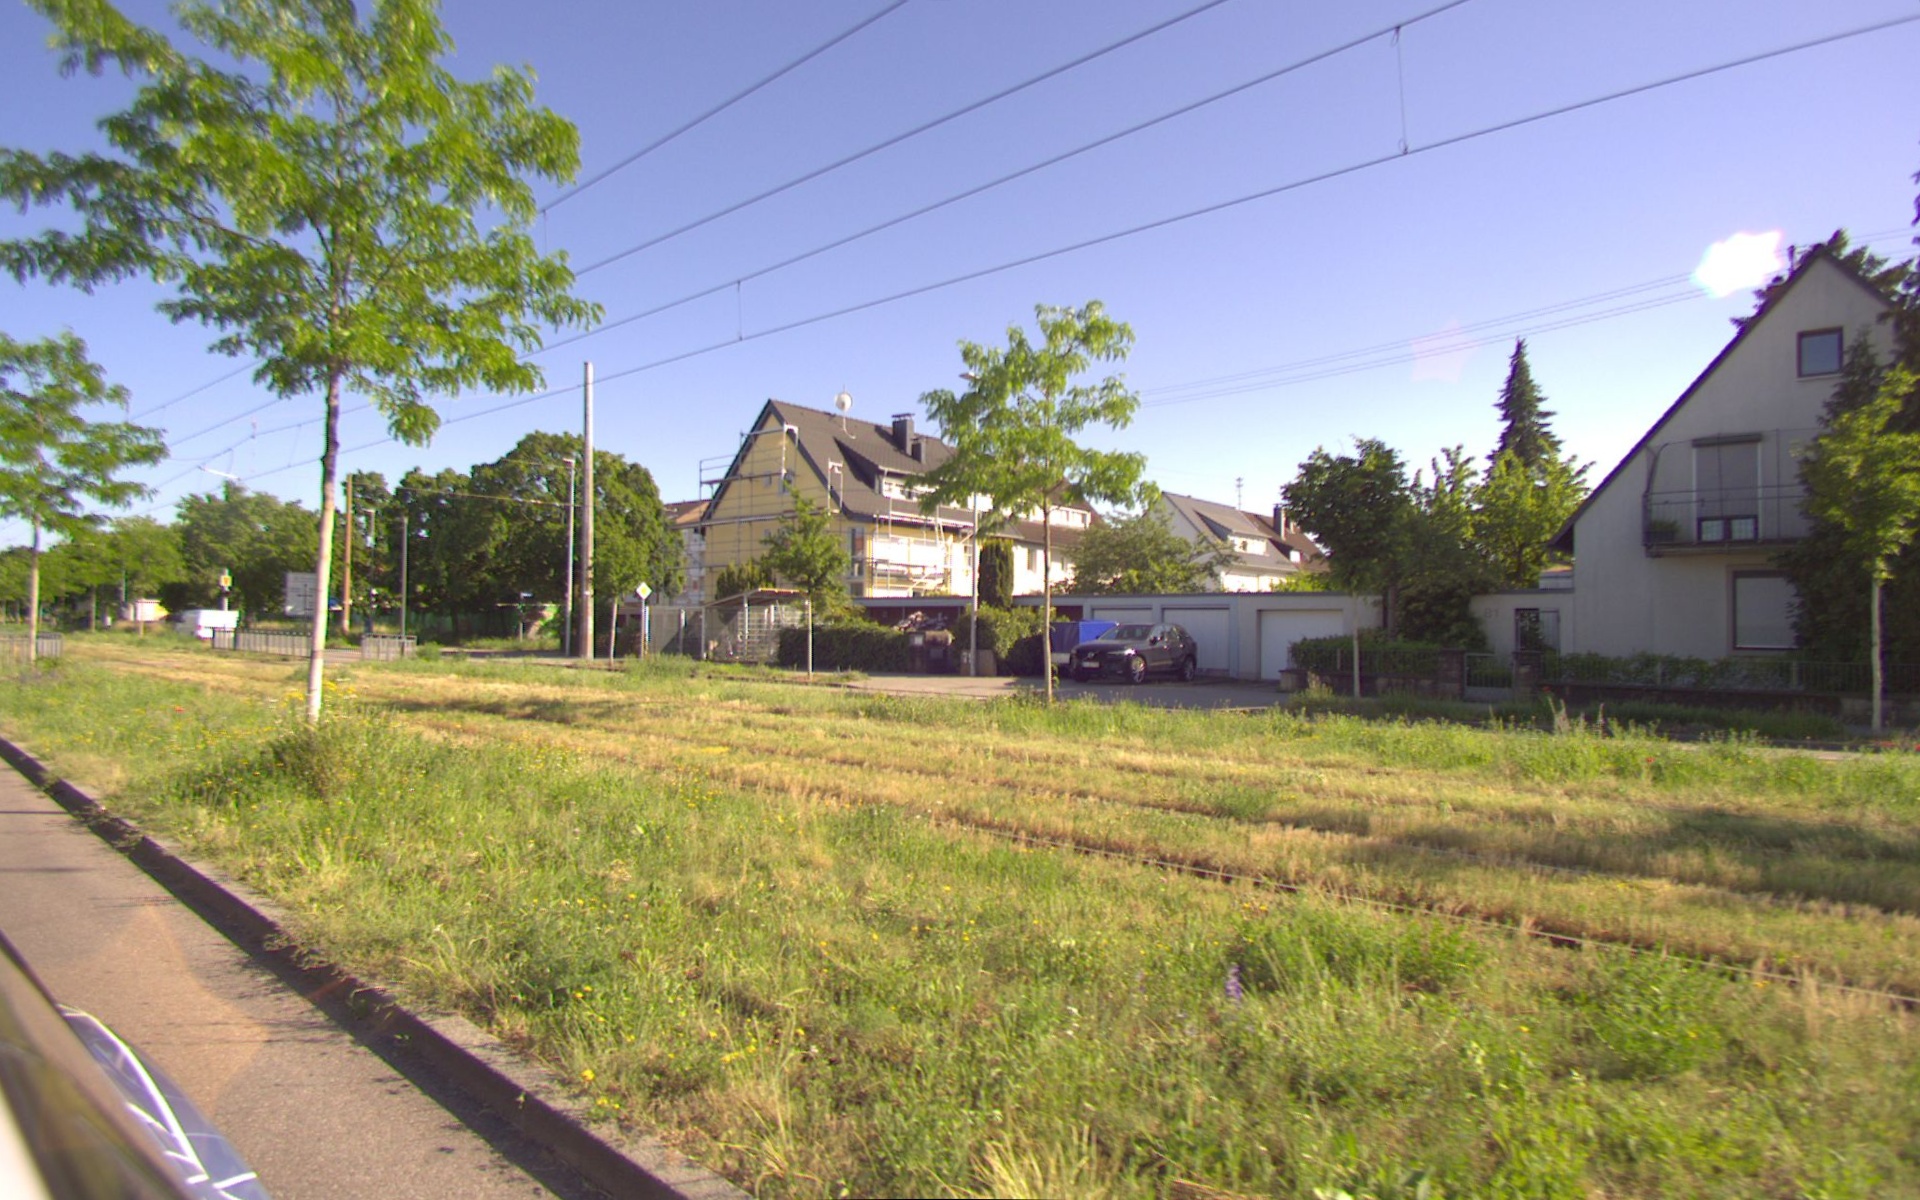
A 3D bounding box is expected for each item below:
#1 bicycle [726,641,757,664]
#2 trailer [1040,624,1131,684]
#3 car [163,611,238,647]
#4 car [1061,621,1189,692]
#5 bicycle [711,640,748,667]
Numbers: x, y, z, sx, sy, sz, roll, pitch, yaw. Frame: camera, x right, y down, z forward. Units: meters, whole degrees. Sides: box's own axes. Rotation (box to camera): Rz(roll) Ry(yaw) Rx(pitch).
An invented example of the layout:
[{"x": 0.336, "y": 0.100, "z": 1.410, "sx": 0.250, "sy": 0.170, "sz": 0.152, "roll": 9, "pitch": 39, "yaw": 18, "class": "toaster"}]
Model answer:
[{"x": -8.331, "y": 2.000, "z": 38.608, "sx": 1.508, "sy": 0.827, "sz": 0.307, "roll": 0, "pitch": -1, "yaw": 41, "class": "bicycle"}, {"x": 3.763, "y": 1.571, "z": 30.024, "sx": 1.397, "sy": 1.660, "sz": 2.885, "roll": -1, "pitch": -2, "yaw": 38, "class": "trailer"}, {"x": -42.726, "y": 1.637, "z": 56.931, "sx": 4.689, "sy": 1.929, "sz": 1.882, "roll": -1, "pitch": -2, "yaw": 34, "class": "car"}, {"x": 4.582, "y": 1.493, "z": 27.529, "sx": 2.044, "sy": 1.748, "sz": 4.509, "roll": -1, "pitch": -3, "yaw": 29, "class": "car"}, {"x": -8.643, "y": 1.987, "z": 37.976, "sx": 1.748, "sy": 0.949, "sz": 0.419, "roll": 0, "pitch": -1, "yaw": 41, "class": "bicycle"}]
